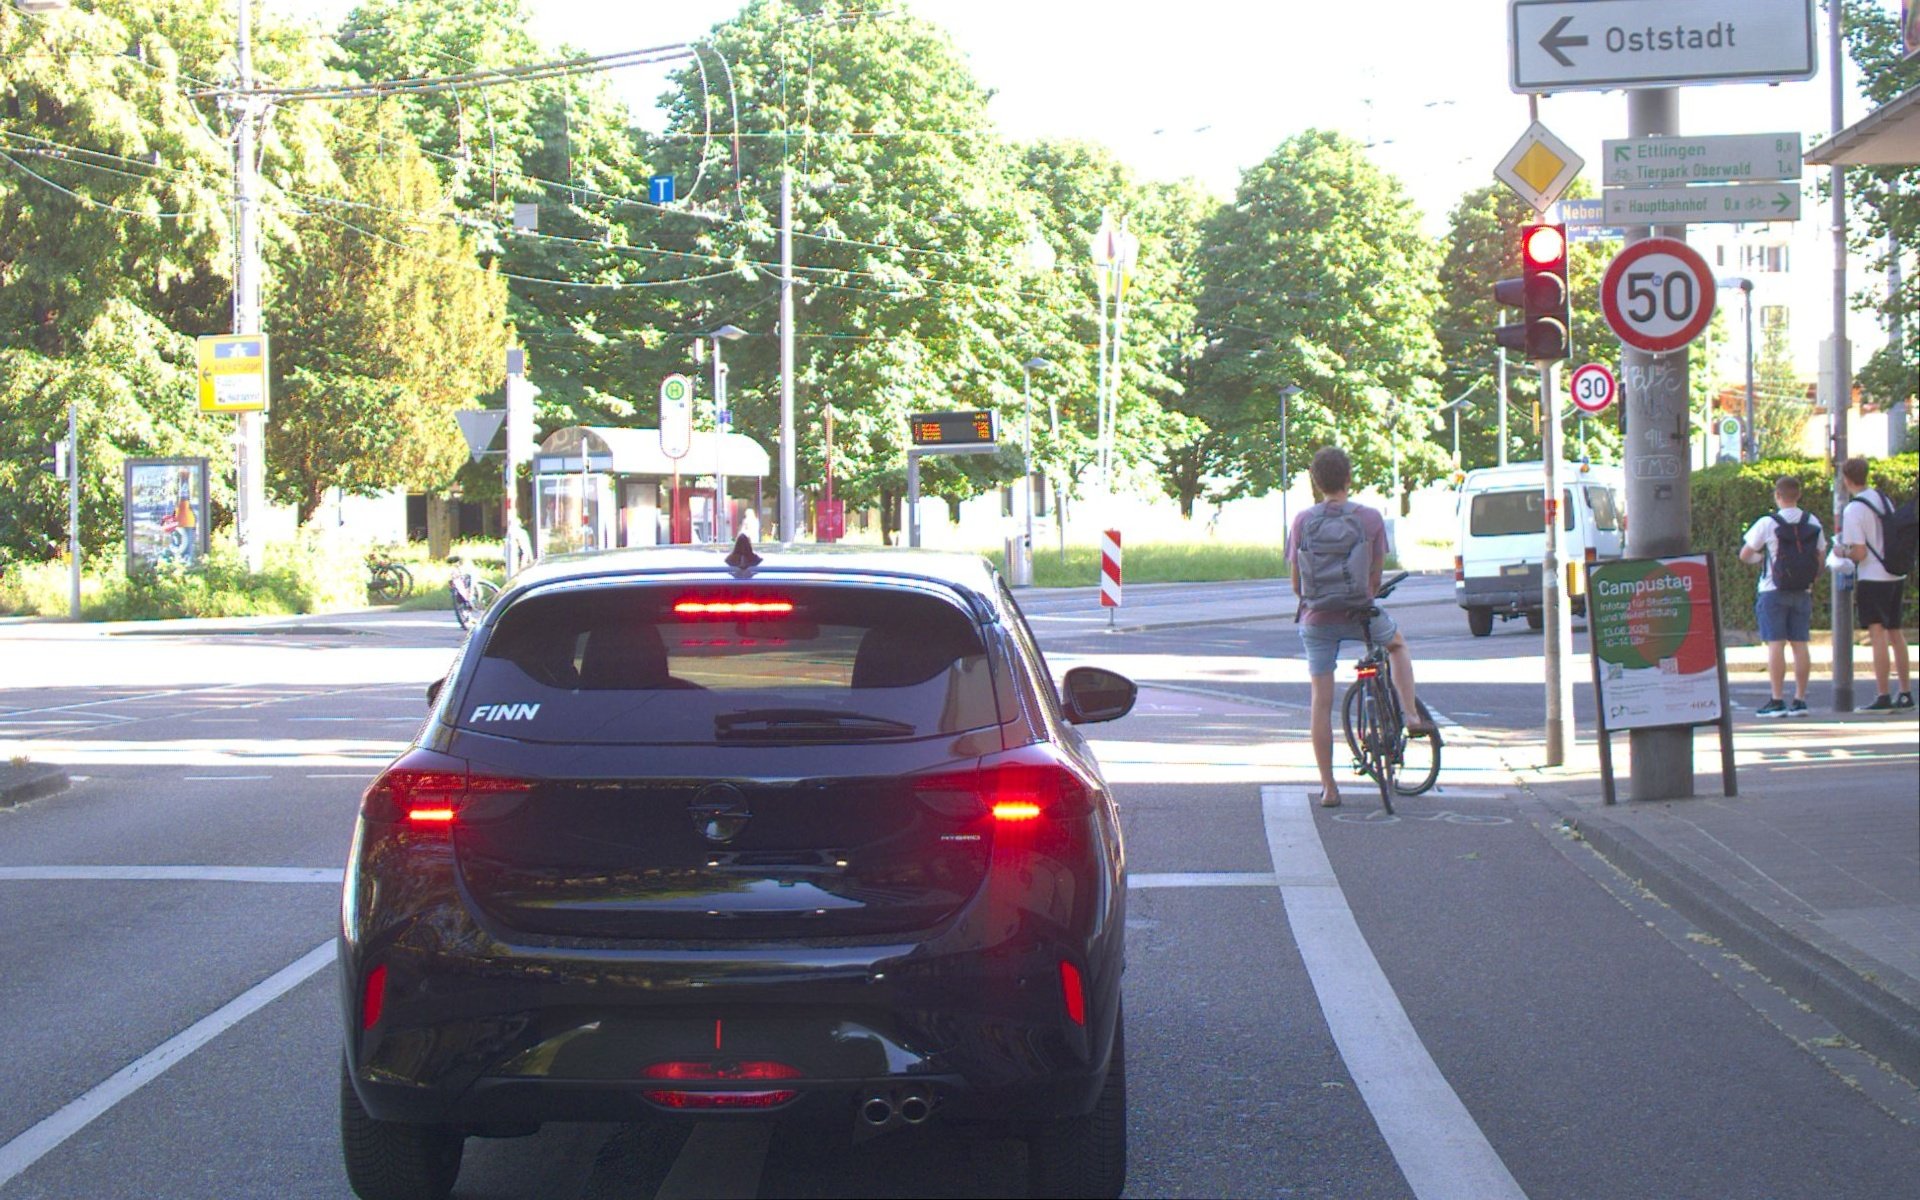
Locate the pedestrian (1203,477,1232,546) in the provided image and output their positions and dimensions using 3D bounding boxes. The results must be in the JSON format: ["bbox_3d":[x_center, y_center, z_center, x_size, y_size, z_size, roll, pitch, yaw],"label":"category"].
[{"bbox_3d":[7.085,-2.437,94.651,0.519,1.865,0.604,1,1,43],"label":"pedestrian"}]

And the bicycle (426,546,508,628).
[{"bbox_3d":[-6.631,-0.186,46.343,0.796,1.061,2.185,0,1,-1],"label":"bicycle"}]

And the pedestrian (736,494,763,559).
[{"bbox_3d":[-6.118,-2.135,99.811,0.737,1.865,0.662,1,0,-6],"label":"pedestrian"}]

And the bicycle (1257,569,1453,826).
[{"bbox_3d":[2.089,0.470,17.961,0.753,1.231,2.014,0,1,14],"label":"bicycle"}]

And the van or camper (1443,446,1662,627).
[{"bbox_3d":[8.018,-0.837,46.231,2.031,2.302,4.535,1,1,21],"label":"van or camper"}]

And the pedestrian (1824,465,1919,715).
[{"bbox_3d":[6.786,-0.078,25.513,0.633,1.814,0.744,1,0,20],"label":"pedestrian"}]

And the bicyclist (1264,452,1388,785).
[{"bbox_3d":[1.894,0.088,17.766,0.534,1.686,0.567,0,1,17],"label":"bicyclist"}]

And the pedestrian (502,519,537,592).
[{"bbox_3d":[-9.006,-0.915,70.332,0.570,1.467,0.665,0,1,4],"label":"pedestrian"}]

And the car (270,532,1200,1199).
[{"bbox_3d":[-0.469,0.566,8.813,1.840,1.457,3.984,0,1,-1],"label":"car"}]

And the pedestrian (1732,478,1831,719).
[{"bbox_3d":[6.097,-0.017,25.510,0.633,1.757,0.582,1,0,20],"label":"pedestrian"}]
